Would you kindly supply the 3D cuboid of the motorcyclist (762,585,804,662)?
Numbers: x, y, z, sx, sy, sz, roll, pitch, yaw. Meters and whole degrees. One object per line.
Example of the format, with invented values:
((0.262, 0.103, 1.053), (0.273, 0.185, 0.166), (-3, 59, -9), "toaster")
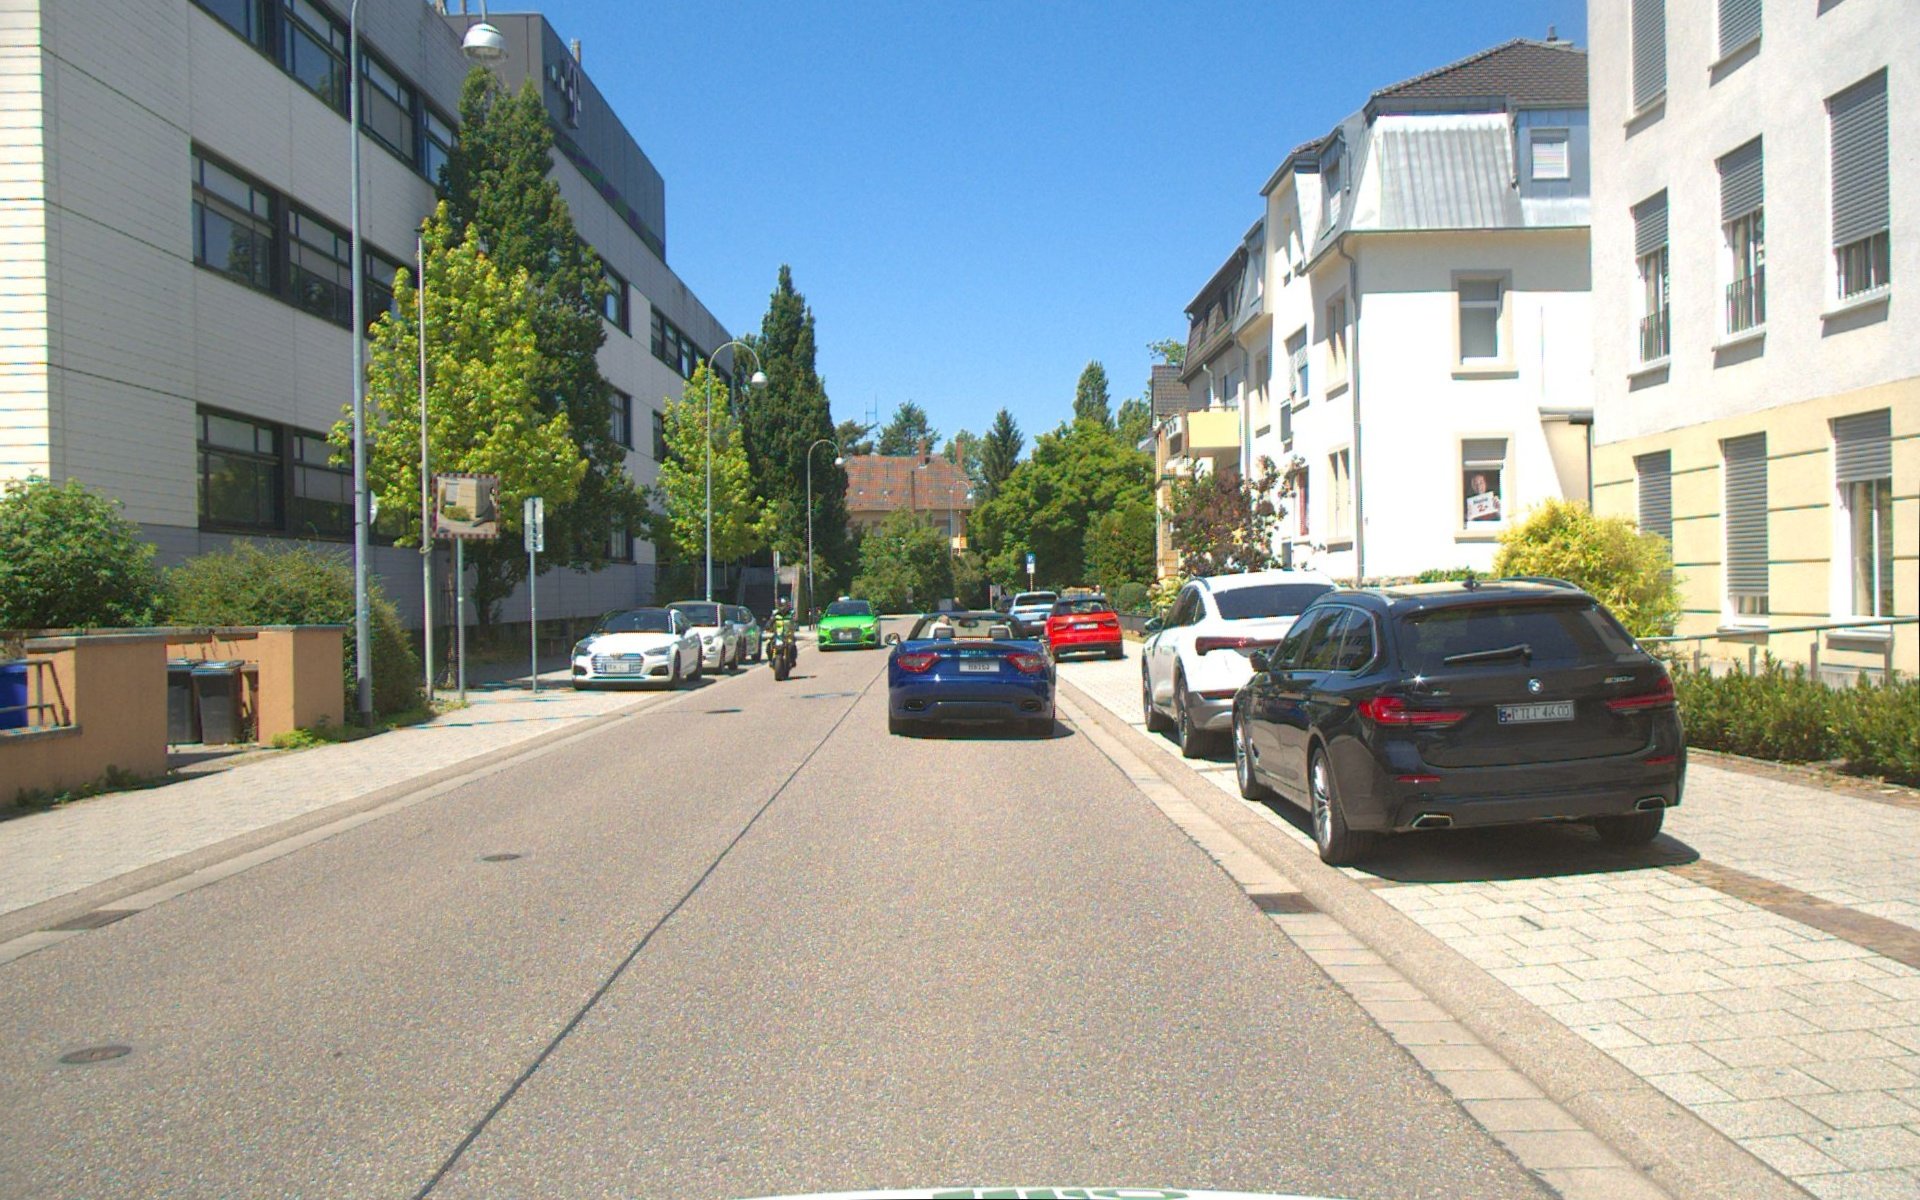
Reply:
((-3.446, 0.449, 32.222), (0.684, 1.458, 0.707), (-2, 0, 0), "motorcyclist")

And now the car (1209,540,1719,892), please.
((2.839, 0.565, 10.516), (1.671, 1.583, 4.747), (-5, 0, 0), "car")

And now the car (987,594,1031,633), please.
((2.048, 0.543, 69.457), (1.598, 1.471, 4.397), (-4, 0, 0), "car")

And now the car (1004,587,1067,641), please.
((2.467, 0.445, 54.955), (1.806, 1.647, 4.427), (-3, 0, 0), "car")

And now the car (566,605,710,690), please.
((-5.831, 0.809, 30.466), (1.785, 1.436, 4.577), (0, 0, 0), "car")

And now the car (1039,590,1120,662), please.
((2.711, 0.562, 38.179), (1.571, 1.466, 3.853), (-4, 0, 1), "car")

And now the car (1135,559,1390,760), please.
((2.875, 0.512, 16.676), (1.670, 1.695, 4.580), (-2, 0, 0), "car")

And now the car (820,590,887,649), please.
((-3.187, 0.566, 50.065), (1.785, 1.616, 4.099), (-3, 0, -1), "car")

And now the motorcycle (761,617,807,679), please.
((-3.425, 0.925, 32.300), (0.684, 1.126, 1.790), (-2, 0, 0), "motorcycle")

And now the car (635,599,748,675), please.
((-5.818, 0.762, 36.254), (1.785, 1.538, 4.289), (-1, 0, 0), "car")

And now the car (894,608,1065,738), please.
((0.187, 0.779, 19.664), (1.789, 1.360, 4.699), (0, 0, 0), "car")

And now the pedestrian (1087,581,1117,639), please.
((4.291, 0.296, 49.924), (0.725, 1.698, 0.705), (-4, 0, -2), "pedestrian")

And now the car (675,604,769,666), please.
((-5.845, 0.831, 41.009), (1.712, 1.434, 3.933), (0, 0, 1), "car")
